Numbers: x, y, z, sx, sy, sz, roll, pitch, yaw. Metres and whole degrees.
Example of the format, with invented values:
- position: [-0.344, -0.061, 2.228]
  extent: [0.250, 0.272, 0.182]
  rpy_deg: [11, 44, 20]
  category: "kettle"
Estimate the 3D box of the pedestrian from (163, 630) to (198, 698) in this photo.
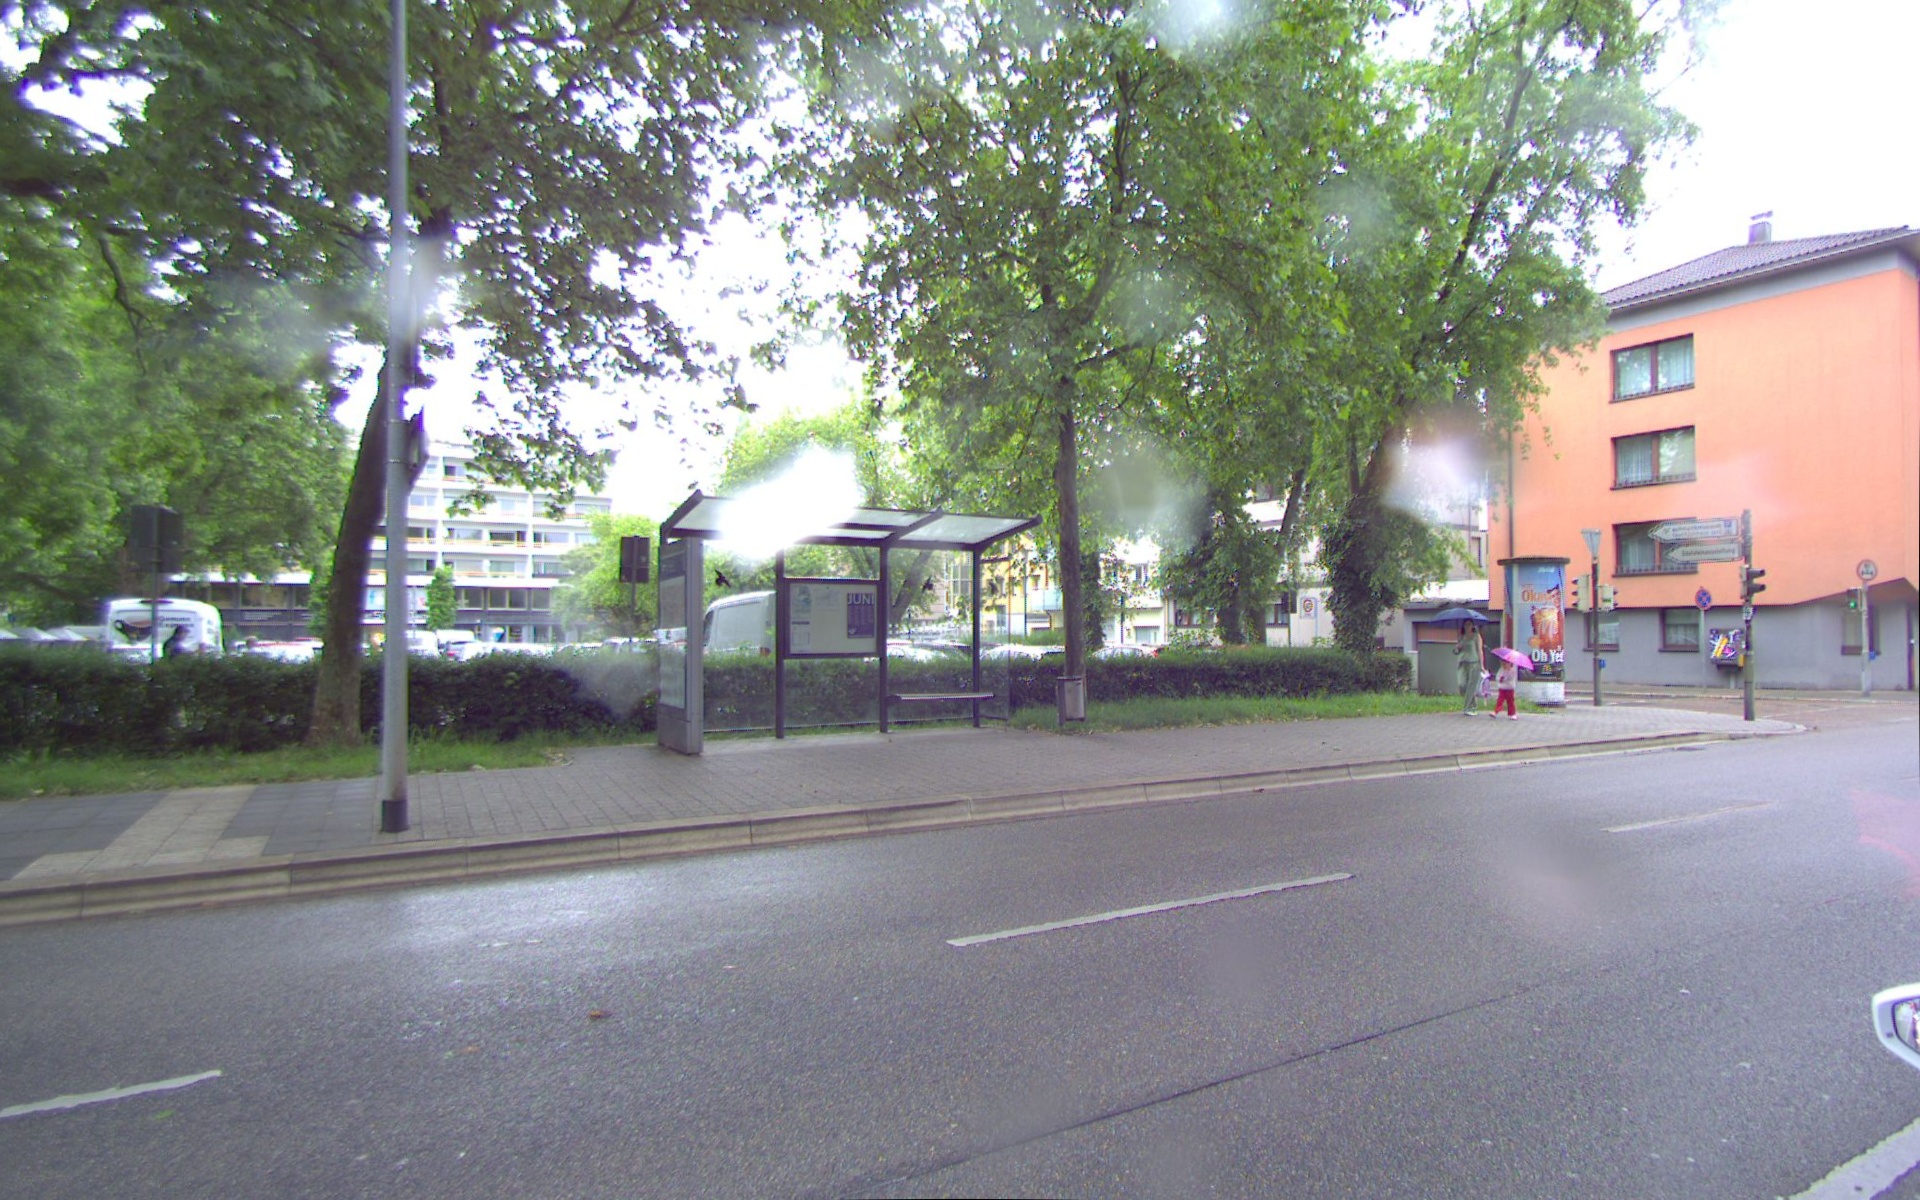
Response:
- position: [-14.507, 1.188, 18.704]
  extent: [0.481, 1.229, 0.434]
  rpy_deg: [2, 0, -37]
  category: "pedestrian"

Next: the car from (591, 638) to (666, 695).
- position: [-9.111, 1.790, 27.502]
  extent: [1.375, 1.454, 3.248]
  rpy_deg: [1, -3, -29]
  category: "car"

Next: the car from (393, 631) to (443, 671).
- position: [-20.900, 1.948, 38.686]
  extent: [1.587, 1.447, 3.293]
  rpy_deg: [2, -3, -30]
  category: "car"

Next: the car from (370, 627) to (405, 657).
- position: [-33.043, 2.403, 57.914]
  extent: [1.622, 1.544, 3.174]
  rpy_deg: [1, 1, -32]
  category: "car"

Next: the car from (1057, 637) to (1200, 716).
- position: [3.805, 1.684, 23.040]
  extent: [1.492, 1.544, 3.174]
  rpy_deg: [2, 0, -32]
  category: "car"

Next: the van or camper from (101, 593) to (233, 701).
- position: [-20.697, 1.224, 26.421]
  extent: [2.074, 2.570, 4.391]
  rpy_deg: [1, -3, -30]
  category: "van or camper"

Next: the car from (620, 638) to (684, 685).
- position: [-9.992, 1.961, 32.473]
  extent: [1.375, 1.454, 3.248]
  rpy_deg: [1, -3, -29]
  category: "car"

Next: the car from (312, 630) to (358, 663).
- position: [-31.421, 2.316, 50.582]
  extent: [1.818, 1.444, 3.799]
  rpy_deg: [2, 0, -31]
  category: "car"

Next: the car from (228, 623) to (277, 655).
- position: [-33.714, 1.861, 47.906]
  extent: [1.587, 1.447, 3.293]
  rpy_deg: [2, -3, -30]
  category: "car"

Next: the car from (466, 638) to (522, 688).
- position: [-14.541, 1.936, 31.279]
  extent: [1.375, 1.454, 3.248]
  rpy_deg: [1, -3, -29]
  category: "car"

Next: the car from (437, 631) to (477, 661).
- position: [-27.127, 2.462, 54.093]
  extent: [1.622, 1.544, 3.175]
  rpy_deg: [2, -2, -32]
  category: "car"

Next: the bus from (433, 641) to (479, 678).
- position: [-22.371, 2.613, 44.569]
  extent: [1.587, 1.559, 3.403]
  rpy_deg: [2, -3, -30]
  category: "bus"

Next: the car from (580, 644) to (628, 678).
- position: [-15.196, 2.581, 42.828]
  extent: [1.332, 1.401, 3.141]
  rpy_deg: [1, -3, -30]
  category: "car"

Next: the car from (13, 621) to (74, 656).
- position: [-40.862, 1.697, 44.848]
  extent: [1.412, 1.447, 2.941]
  rpy_deg: [1, 0, -30]
  category: "car"

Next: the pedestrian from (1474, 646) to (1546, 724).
- position: [8.874, 1.348, 16.210]
  extent: [0.817, 1.190, 0.681]
  rpy_deg: [1, 0, -30]
  category: "pedestrian"

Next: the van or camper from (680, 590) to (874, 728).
- position: [-3.495, 1.051, 18.530]
  extent: [2.026, 2.198, 4.458]
  rpy_deg: [2, -3, -32]
  category: "van or camper"

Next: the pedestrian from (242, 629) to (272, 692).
- position: [-14.126, 1.208, 20.188]
  extent: [0.462, 1.229, 0.434]
  rpy_deg: [2, 0, -37]
  category: "pedestrian"

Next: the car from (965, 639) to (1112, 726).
- position: [1.585, 1.660, 21.170]
  extent: [1.492, 1.544, 3.174]
  rpy_deg: [2, 0, -32]
  category: "car"

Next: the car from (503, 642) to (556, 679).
- position: [-17.695, 2.456, 41.236]
  extent: [1.587, 1.447, 3.293]
  rpy_deg: [2, -3, -30]
  category: "car"

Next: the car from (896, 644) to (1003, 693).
- position: [-0.417, 2.242, 33.839]
  extent: [1.799, 1.536, 3.965]
  rpy_deg: [2, -3, -33]
  category: "car"

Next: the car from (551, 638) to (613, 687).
- position: [-11.957, 1.939, 31.680]
  extent: [1.375, 1.454, 3.248]
  rpy_deg: [1, -3, -29]
  category: "car"

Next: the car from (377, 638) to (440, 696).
- position: [-14.732, 1.750, 26.849]
  extent: [1.375, 1.454, 3.248]
  rpy_deg: [1, -3, -29]
  category: "car"

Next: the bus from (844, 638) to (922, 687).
- position: [-2.439, 1.930, 31.507]
  extent: [1.364, 1.451, 2.777]
  rpy_deg: [1, -3, -30]
  category: "bus"

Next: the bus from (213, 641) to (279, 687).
- position: [-25.548, 2.274, 36.015]
  extent: [1.587, 1.559, 3.403]
  rpy_deg: [2, -3, -30]
  category: "bus"

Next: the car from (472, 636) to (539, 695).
- position: [-12.089, 1.712, 26.647]
  extent: [1.375, 1.454, 3.248]
  rpy_deg: [1, -3, -29]
  category: "car"

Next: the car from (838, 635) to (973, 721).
- position: [-1.210, 1.575, 21.186]
  extent: [1.492, 1.544, 3.174]
  rpy_deg: [2, 0, -32]
  category: "car"

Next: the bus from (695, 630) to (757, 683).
- position: [-7.829, 1.866, 33.522]
  extent: [1.363, 1.698, 2.779]
  rpy_deg: [1, -3, -28]
  category: "bus"

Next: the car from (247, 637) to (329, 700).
- position: [-16.510, 1.650, 24.789]
  extent: [1.375, 1.454, 3.248]
  rpy_deg: [1, -3, -29]
  category: "car"

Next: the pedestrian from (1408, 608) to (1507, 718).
- position: [8.392, 1.030, 16.965]
  extent: [1.195, 1.765, 0.987]
  rpy_deg: [1, 0, -30]
  category: "pedestrian"
